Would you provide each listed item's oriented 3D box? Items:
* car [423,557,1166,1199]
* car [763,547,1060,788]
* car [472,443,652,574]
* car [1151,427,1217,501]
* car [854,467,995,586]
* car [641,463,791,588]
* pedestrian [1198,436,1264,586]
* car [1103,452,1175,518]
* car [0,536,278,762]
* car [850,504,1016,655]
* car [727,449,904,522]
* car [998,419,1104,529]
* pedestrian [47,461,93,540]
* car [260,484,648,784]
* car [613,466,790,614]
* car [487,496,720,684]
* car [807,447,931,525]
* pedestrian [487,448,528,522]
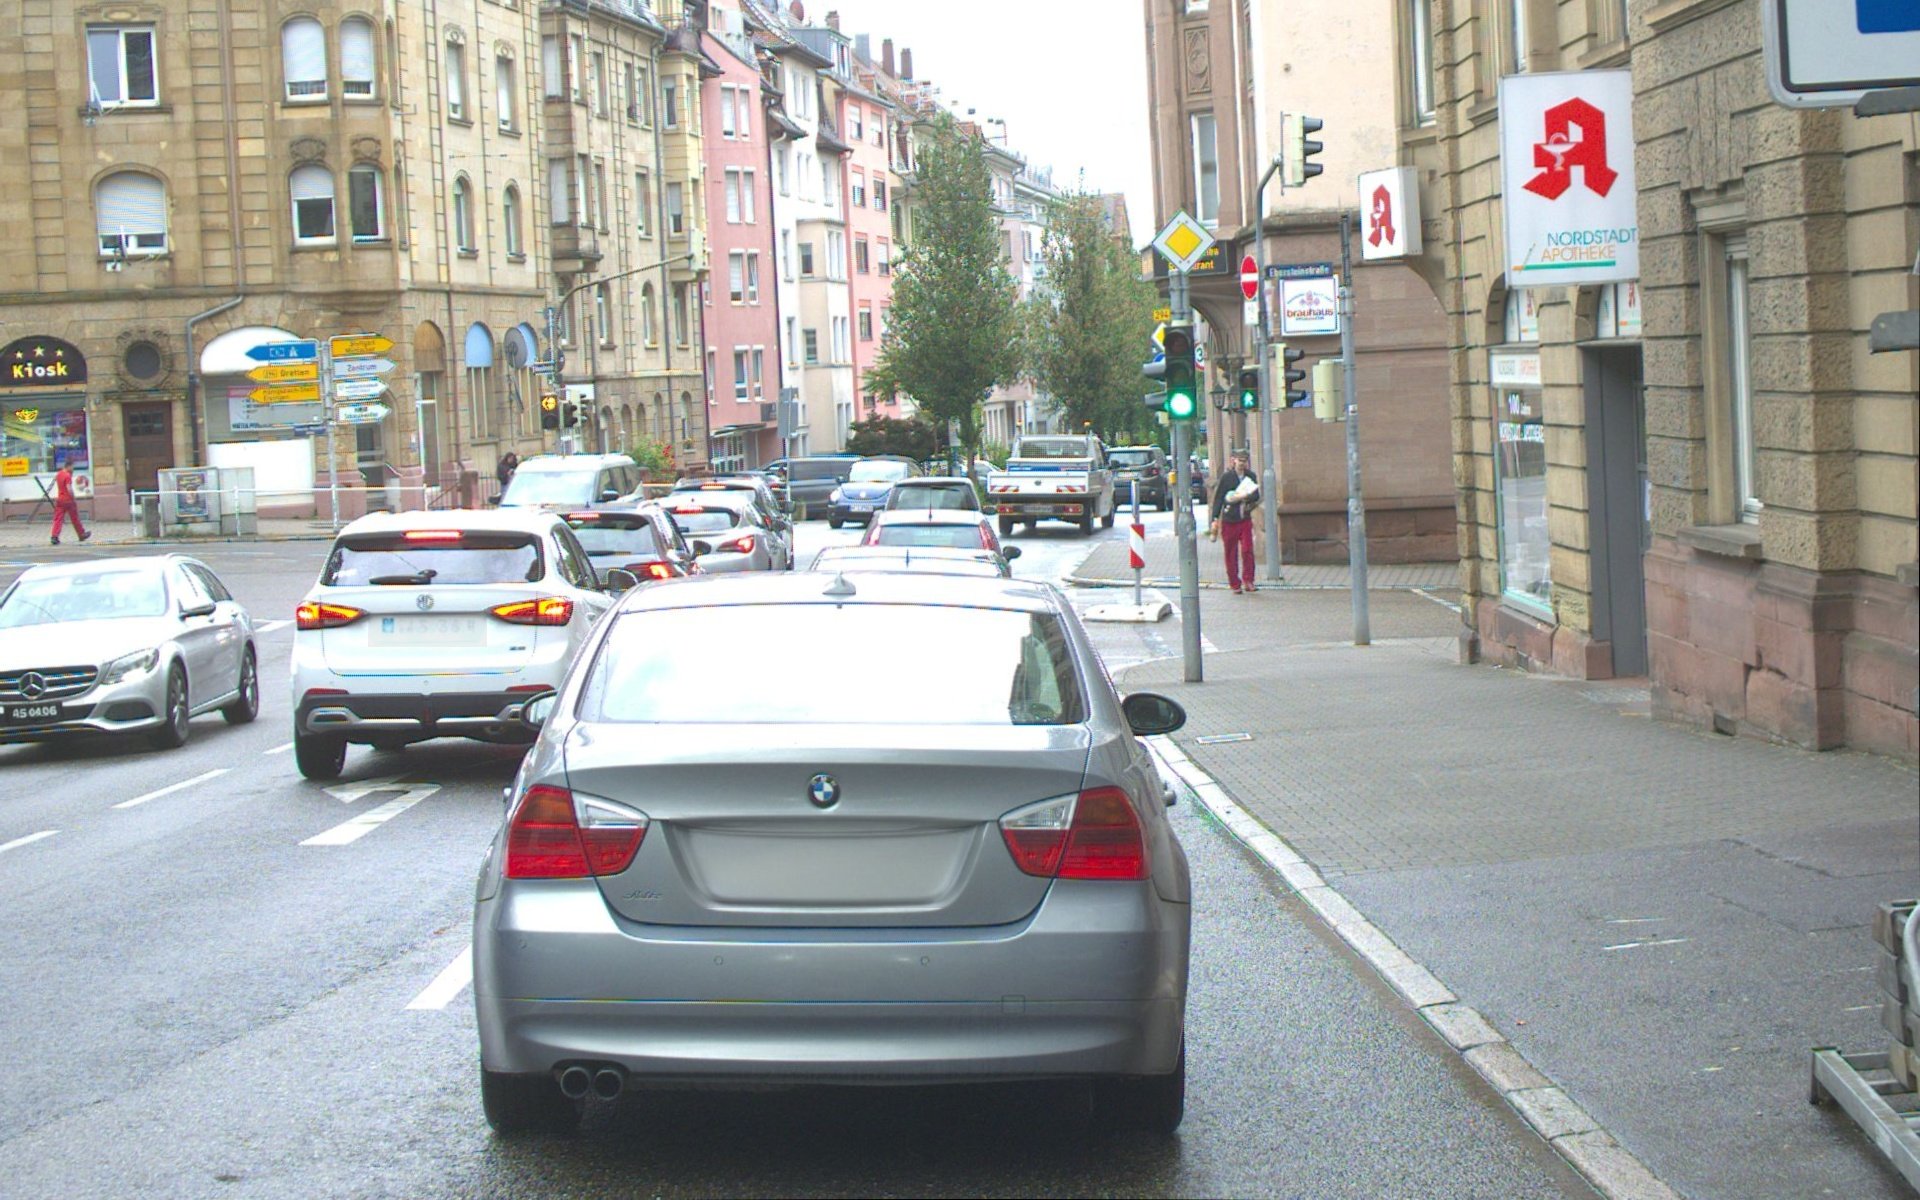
[{"bbox_3d":[-0.329,0.603,9.339,1.623,1.378,3.615,0,1,1],"label":"car"},{"bbox_3d":[-0.251,0.372,22.434,1.759,1.378,4.000,0,1,1],"label":"car"},{"bbox_3d":[-6.166,-1.437,53.754,1.762,1.919,4.322,-1,2,7],"label":"car"},{"bbox_3d":[6.511,-3.917,99.625,1.725,2.007,3.999,1,1,6],"label":"car"},{"bbox_3d":[-0.449,-1.028,47.507,1.759,1.562,4.000,0,2,2],"label":"car"},{"bbox_3d":[-3.432,-1.067,48.942,1.759,1.702,4.000,0,1,1],"label":"car"},{"bbox_3d":[3.496,-1.149,44.394,0.742,1.903,0.659,-1,1,-1],"label":"pedestrian"},{"bbox_3d":[4.536,-2.910,87.564,1.725,1.547,4.000,1,1,2],"label":"car"},{"bbox_3d":[-6.696,0.333,26.982,1.737,1.521,4.472,-4,1,-1],"label":"car"},{"bbox_3d":[-0.230,-0.254,35.558,1.595,1.459,4.000,0,2,1],"label":"car"},{"bbox_3d":[-4.292,-3.426,103.161,5.176,2.007,2.699,1,1,0],"label":"car"},{"bbox_3d":[1.782,-2.481,68.619,1.993,2.099,4.000,0,1,0],"label":"car"},{"bbox_3d":[-17.990,-2.012,69.504,0.537,1.572,0.719,-1,1,19],"label":"pedestrian"},{"bbox_3d":[-3.143,0.134,22.136,1.868,1.620,4.001,-2,3,0],"label":"car"},{"bbox_3d":[-3.089,-0.749,41.749,1.759,1.702,4.000,0,1,1],"label":"car"},{"bbox_3d":[-3.381,-0.146,33.242,1.759,1.702,4.000,0,1,1],"label":"car"},{"bbox_3d":[-1.907,-2.417,73.395,1.845,1.535,3.998,1,1,10],"label":"car"},{"bbox_3d":[-9.796,-2.485,74.419,0.732,1.572,0.528,-1,1,9],"label":"pedestrian"}]
